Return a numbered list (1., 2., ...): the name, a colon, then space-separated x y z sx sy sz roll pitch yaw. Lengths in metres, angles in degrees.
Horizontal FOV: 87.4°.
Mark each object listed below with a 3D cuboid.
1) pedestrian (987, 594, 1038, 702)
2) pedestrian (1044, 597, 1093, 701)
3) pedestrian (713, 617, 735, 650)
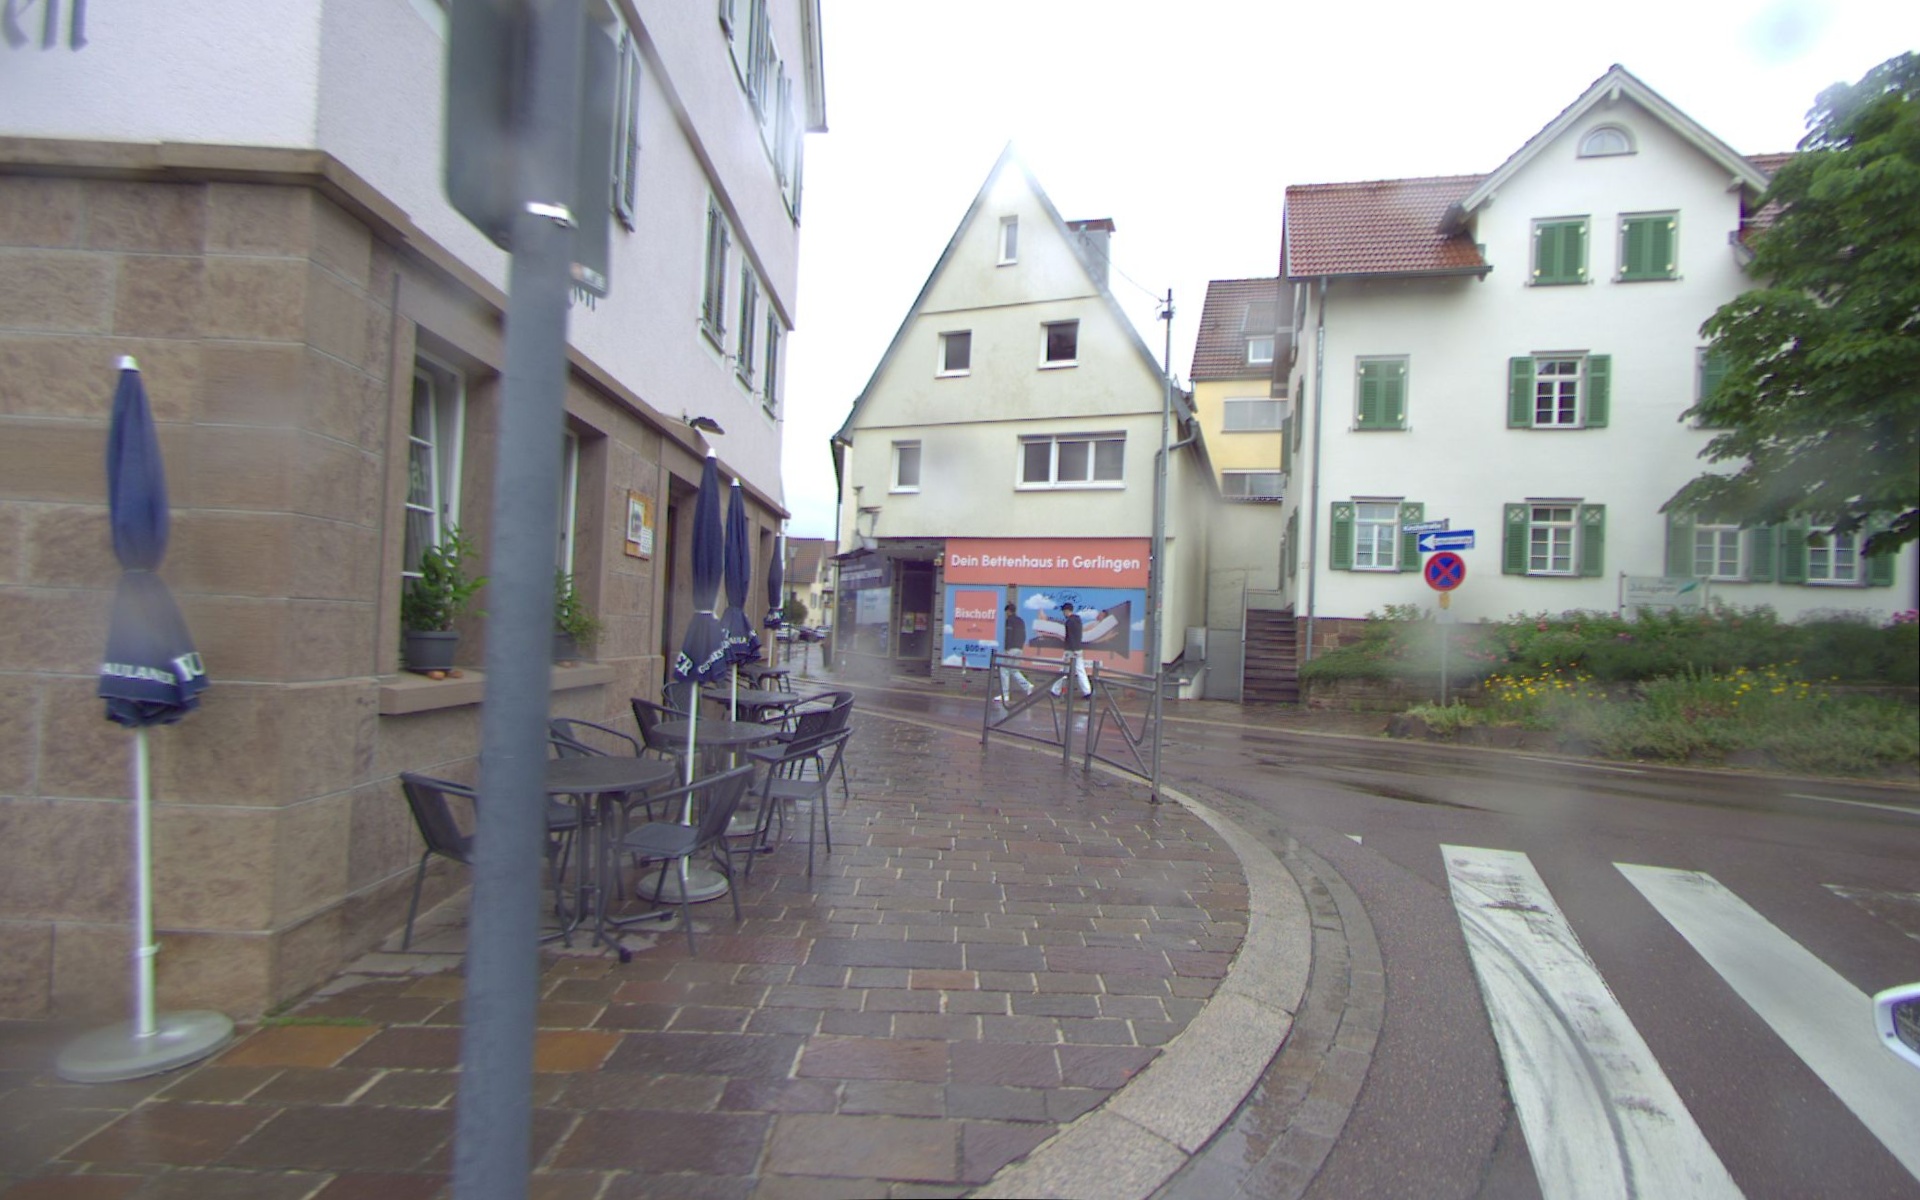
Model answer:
1. pedestrian: 1.020 0.916 19.367 0.747 2.040 0.652 0 -3 28
2. pedestrian: 2.181 0.976 20.101 0.747 2.040 0.652 0 -3 28
3. pedestrian: -15.185 2.143 64.750 1.123 2.040 0.827 3 -1 -3
